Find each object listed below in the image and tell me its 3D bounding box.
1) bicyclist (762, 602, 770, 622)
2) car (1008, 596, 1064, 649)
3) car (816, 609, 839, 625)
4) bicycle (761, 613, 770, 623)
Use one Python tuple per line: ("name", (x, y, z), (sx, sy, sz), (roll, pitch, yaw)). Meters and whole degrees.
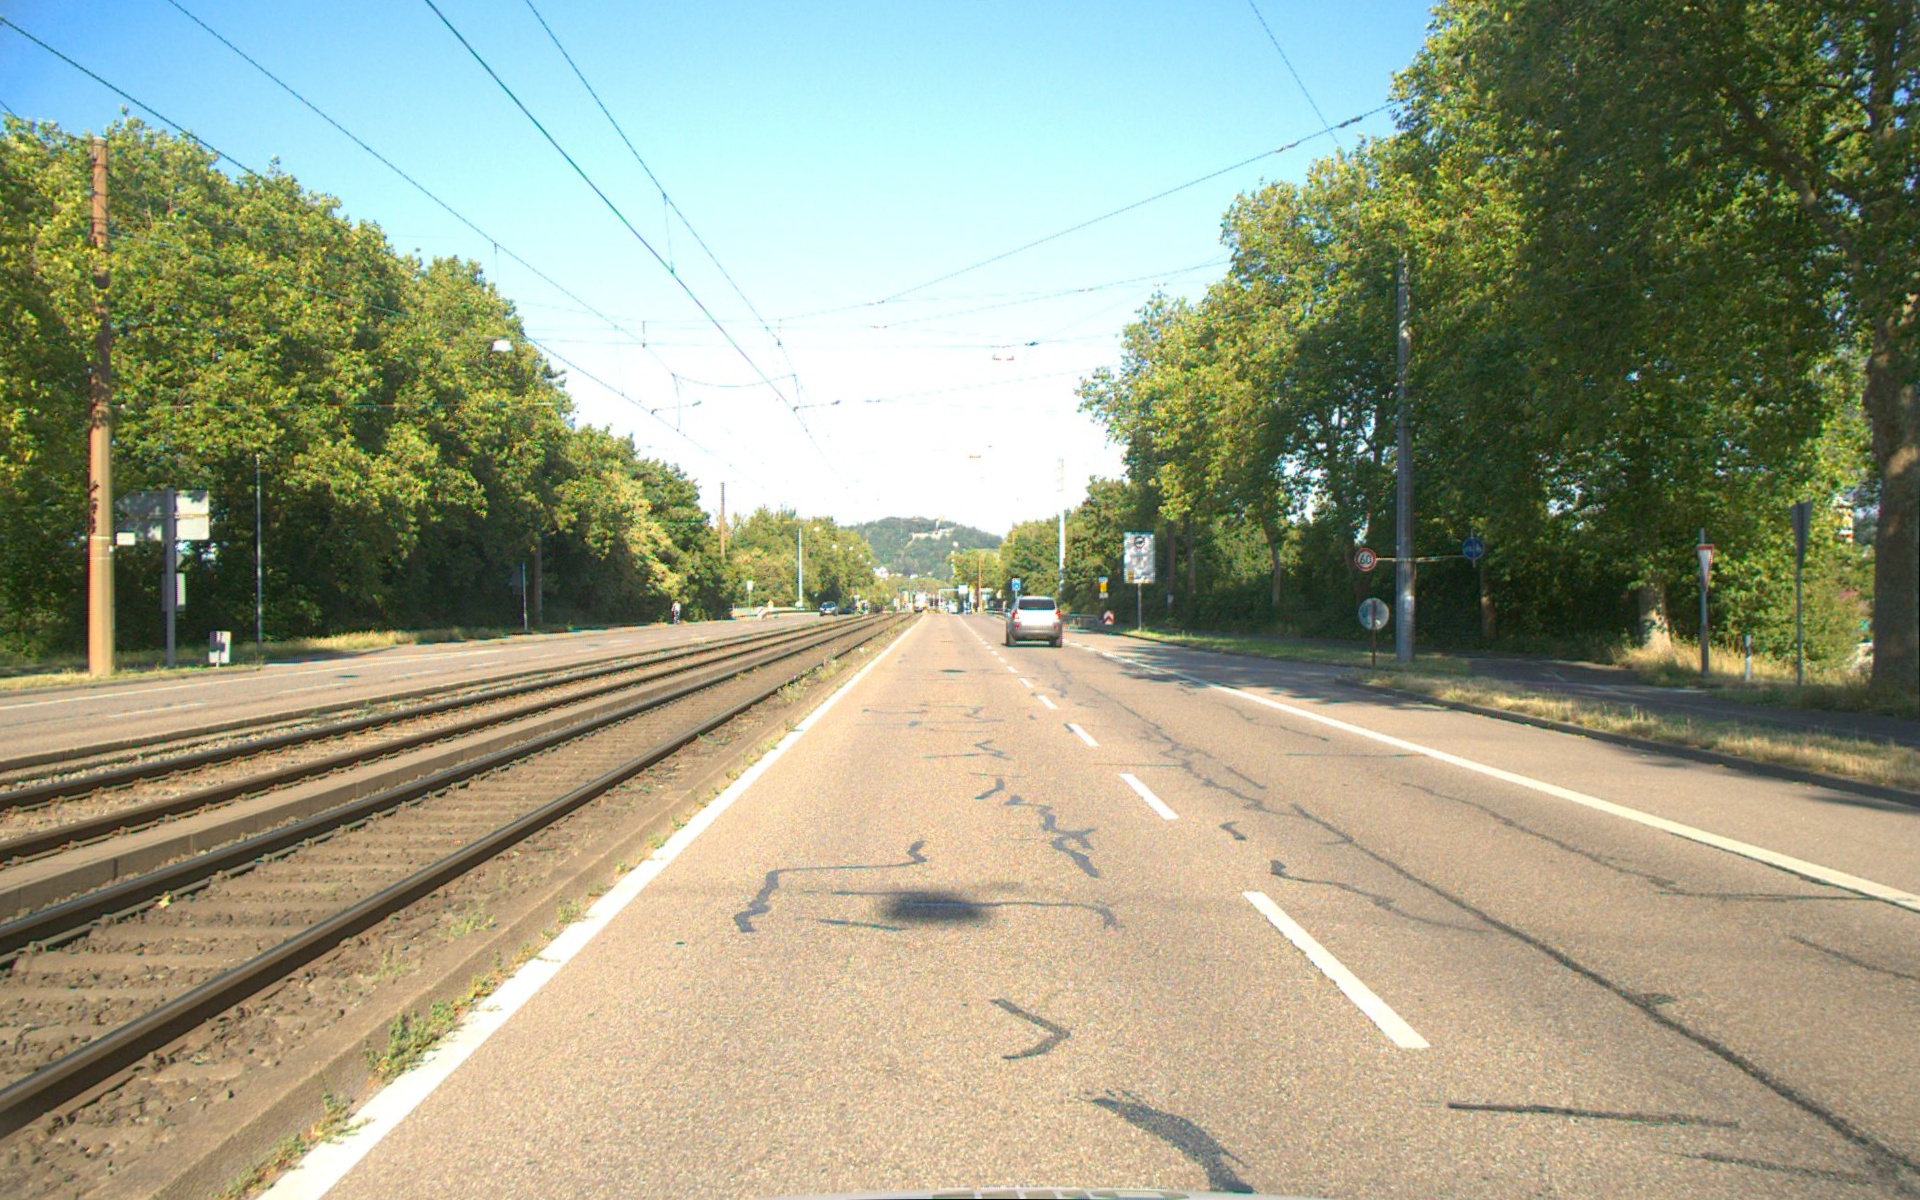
("bicyclist", (-17.074, 1.031, 145.422), (0.497, 1.717, 0.919), (1, -1, 2))
("car", (2.571, 0.758, 56.884), (1.849, 1.723, 4.257), (0, -1, 2))
("car", (-15.182, 1.917, 190.005), (1.952, 1.715, 4.797), (-2, -1, 2))
("bicycle", (-17.081, 1.587, 145.435), (0.497, 0.908, 2.028), (1, 0, 2))
